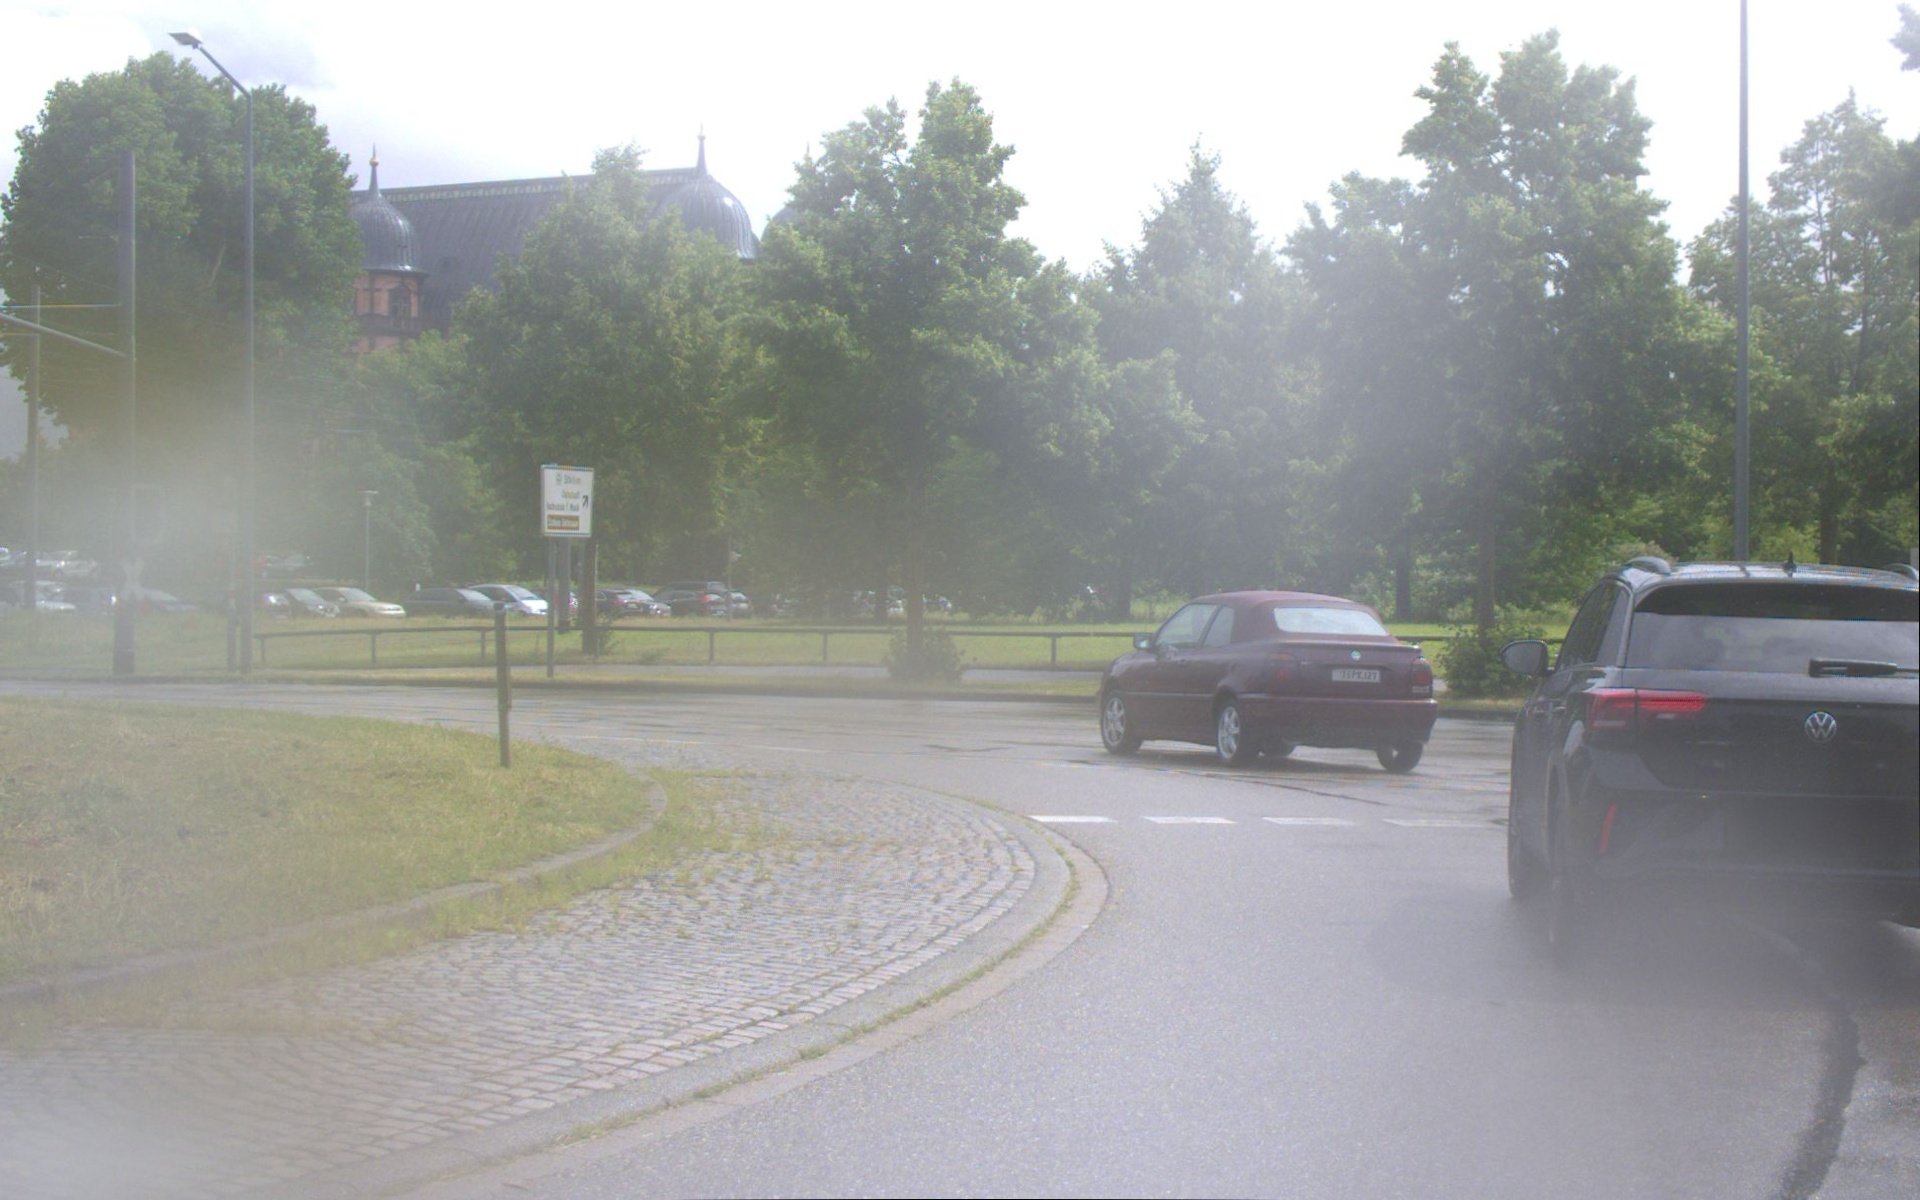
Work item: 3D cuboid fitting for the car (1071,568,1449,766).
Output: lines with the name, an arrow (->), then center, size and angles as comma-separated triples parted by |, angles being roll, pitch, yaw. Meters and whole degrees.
car -> 2.420, 0.503, 28.744 | 1.714, 1.457, 4.001 | 0, 1, -18

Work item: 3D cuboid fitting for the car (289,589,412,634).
car -> -21.194, 0.398, 119.536 | 3.972, 1.554, 1.847 | 0, 0, 31

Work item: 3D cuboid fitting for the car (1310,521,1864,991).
car -> 2.540, 0.542, 14.202 | 1.898, 1.612, 3.998 | 1, 0, 9
